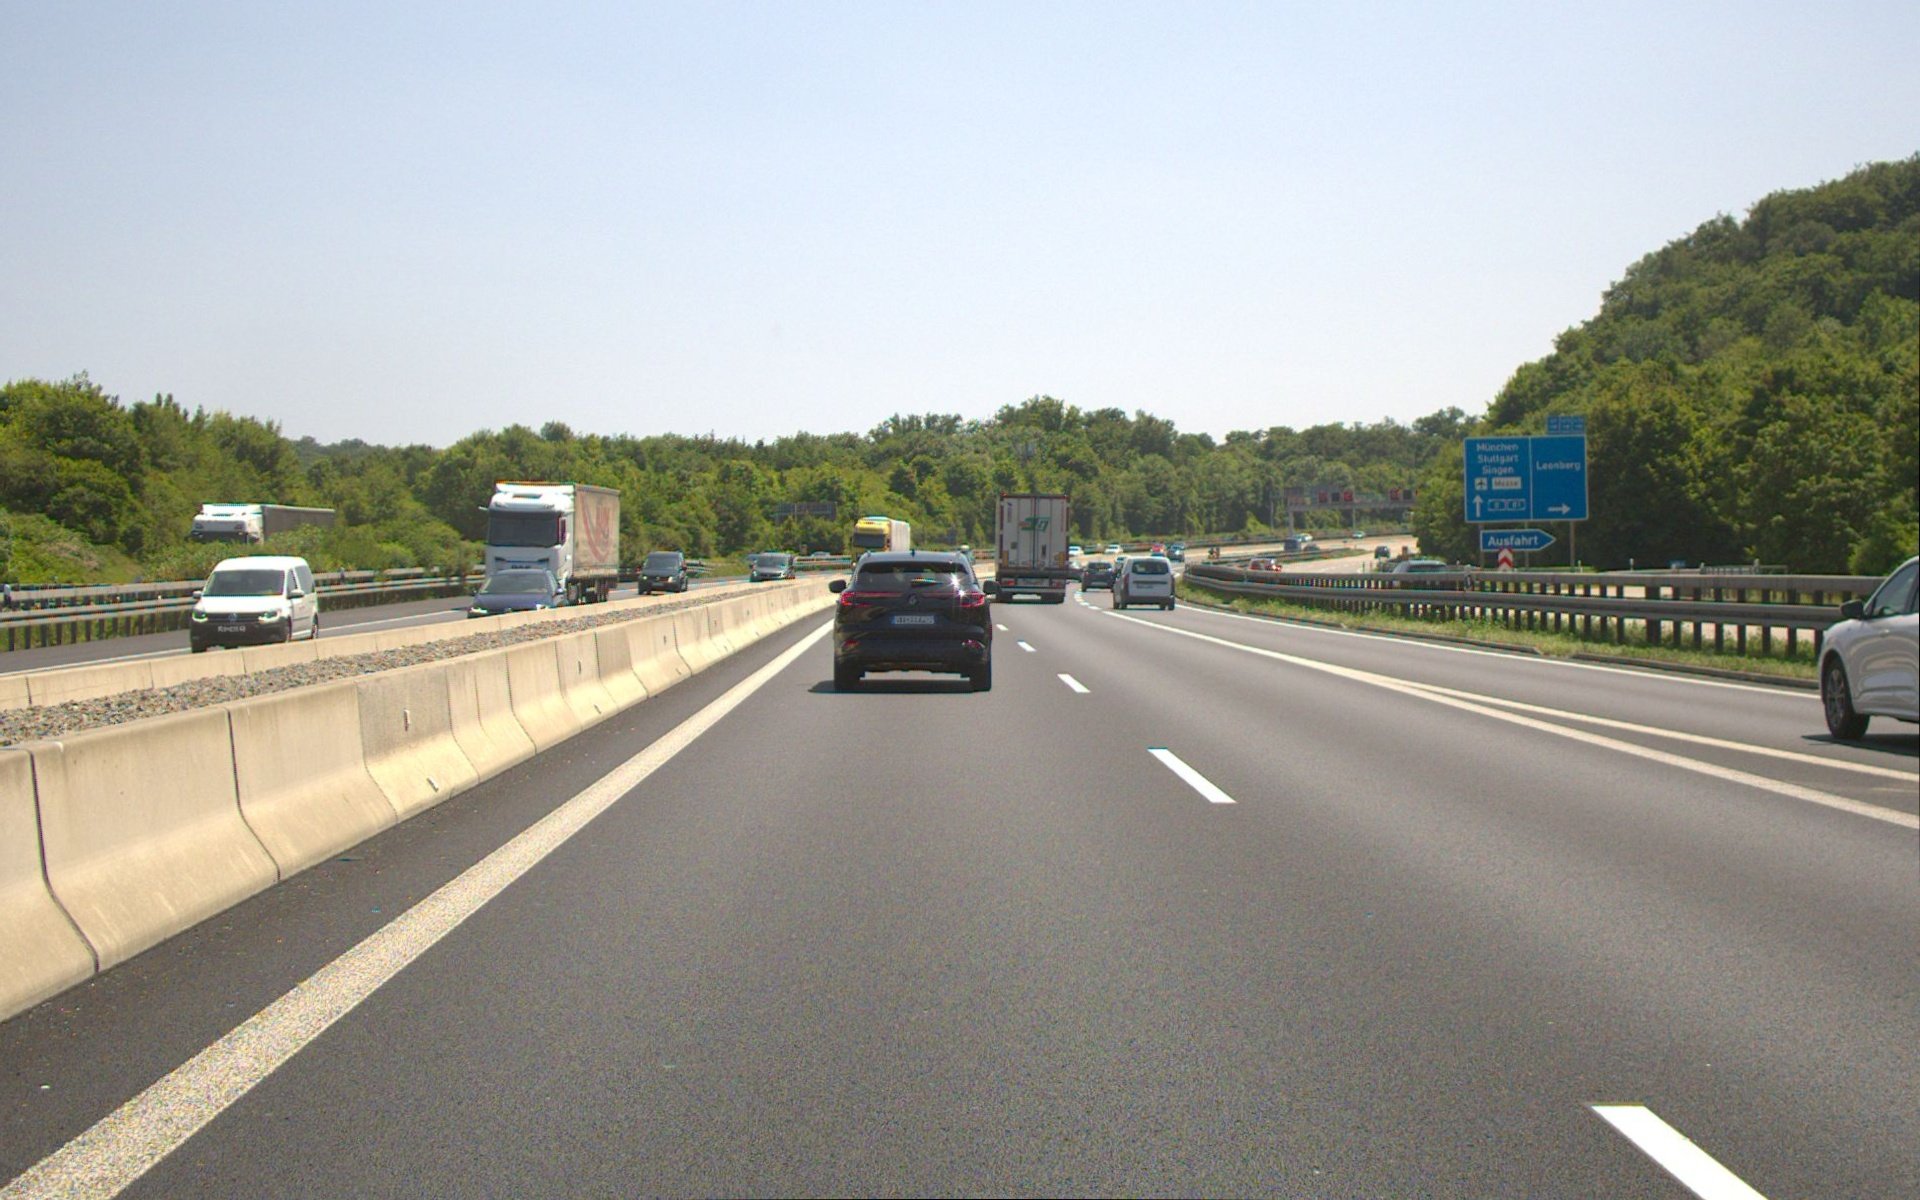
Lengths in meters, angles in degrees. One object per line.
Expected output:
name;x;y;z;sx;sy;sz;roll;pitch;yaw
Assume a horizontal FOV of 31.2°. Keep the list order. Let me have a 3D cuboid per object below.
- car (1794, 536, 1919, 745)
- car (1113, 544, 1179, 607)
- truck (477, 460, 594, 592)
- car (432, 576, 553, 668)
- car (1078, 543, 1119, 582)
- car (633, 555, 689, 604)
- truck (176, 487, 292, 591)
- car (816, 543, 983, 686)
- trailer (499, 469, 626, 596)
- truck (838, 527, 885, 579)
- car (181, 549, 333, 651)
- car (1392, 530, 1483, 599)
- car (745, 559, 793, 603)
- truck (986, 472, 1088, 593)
car;8.571;0.330;28.289;1.993;1.656;4.468;1;0;-5
car;6.265;-0.843;116.359;1.993;2.007;4.000;-2;1;1
truck;-13.224;-2.273;107.532;2.928;3.959;5.898;1;0;-1
car;-9.666;0.417;71.394;1.983;1.820;4.827;1;0;-2
car;7.291;-1.953;180.412;1.994;2.007;3.999;1;0;4
car;-12.621;-0.877;145.298;1.993;2.007;4.485;1;0;-1
truck;-28.976;-2.398;137.454;3.220;4.031;6.640;1;0;0
car;-0.758;0.149;40.381;1.779;1.572;4.000;1;0;-3
trailer;-13.318;-2.199;116.218;2.910;4.031;12.064;1;0;0
truck;-7.249;-3.471;253.689;2.750;3.742;4.865;1;0;6
car;-13.169;-0.024;64.657;1.742;1.820;4.903;1;0;1
car;14.504;-1.091;104.605;1.993;2.007;4.001;-1;1;-2
car;-8.901;-0.878;160.801;2.051;2.007;4.955;1;0;-1
truck;3.031;-2.508;131.646;3.032;4.403;12.016;1;0;5
